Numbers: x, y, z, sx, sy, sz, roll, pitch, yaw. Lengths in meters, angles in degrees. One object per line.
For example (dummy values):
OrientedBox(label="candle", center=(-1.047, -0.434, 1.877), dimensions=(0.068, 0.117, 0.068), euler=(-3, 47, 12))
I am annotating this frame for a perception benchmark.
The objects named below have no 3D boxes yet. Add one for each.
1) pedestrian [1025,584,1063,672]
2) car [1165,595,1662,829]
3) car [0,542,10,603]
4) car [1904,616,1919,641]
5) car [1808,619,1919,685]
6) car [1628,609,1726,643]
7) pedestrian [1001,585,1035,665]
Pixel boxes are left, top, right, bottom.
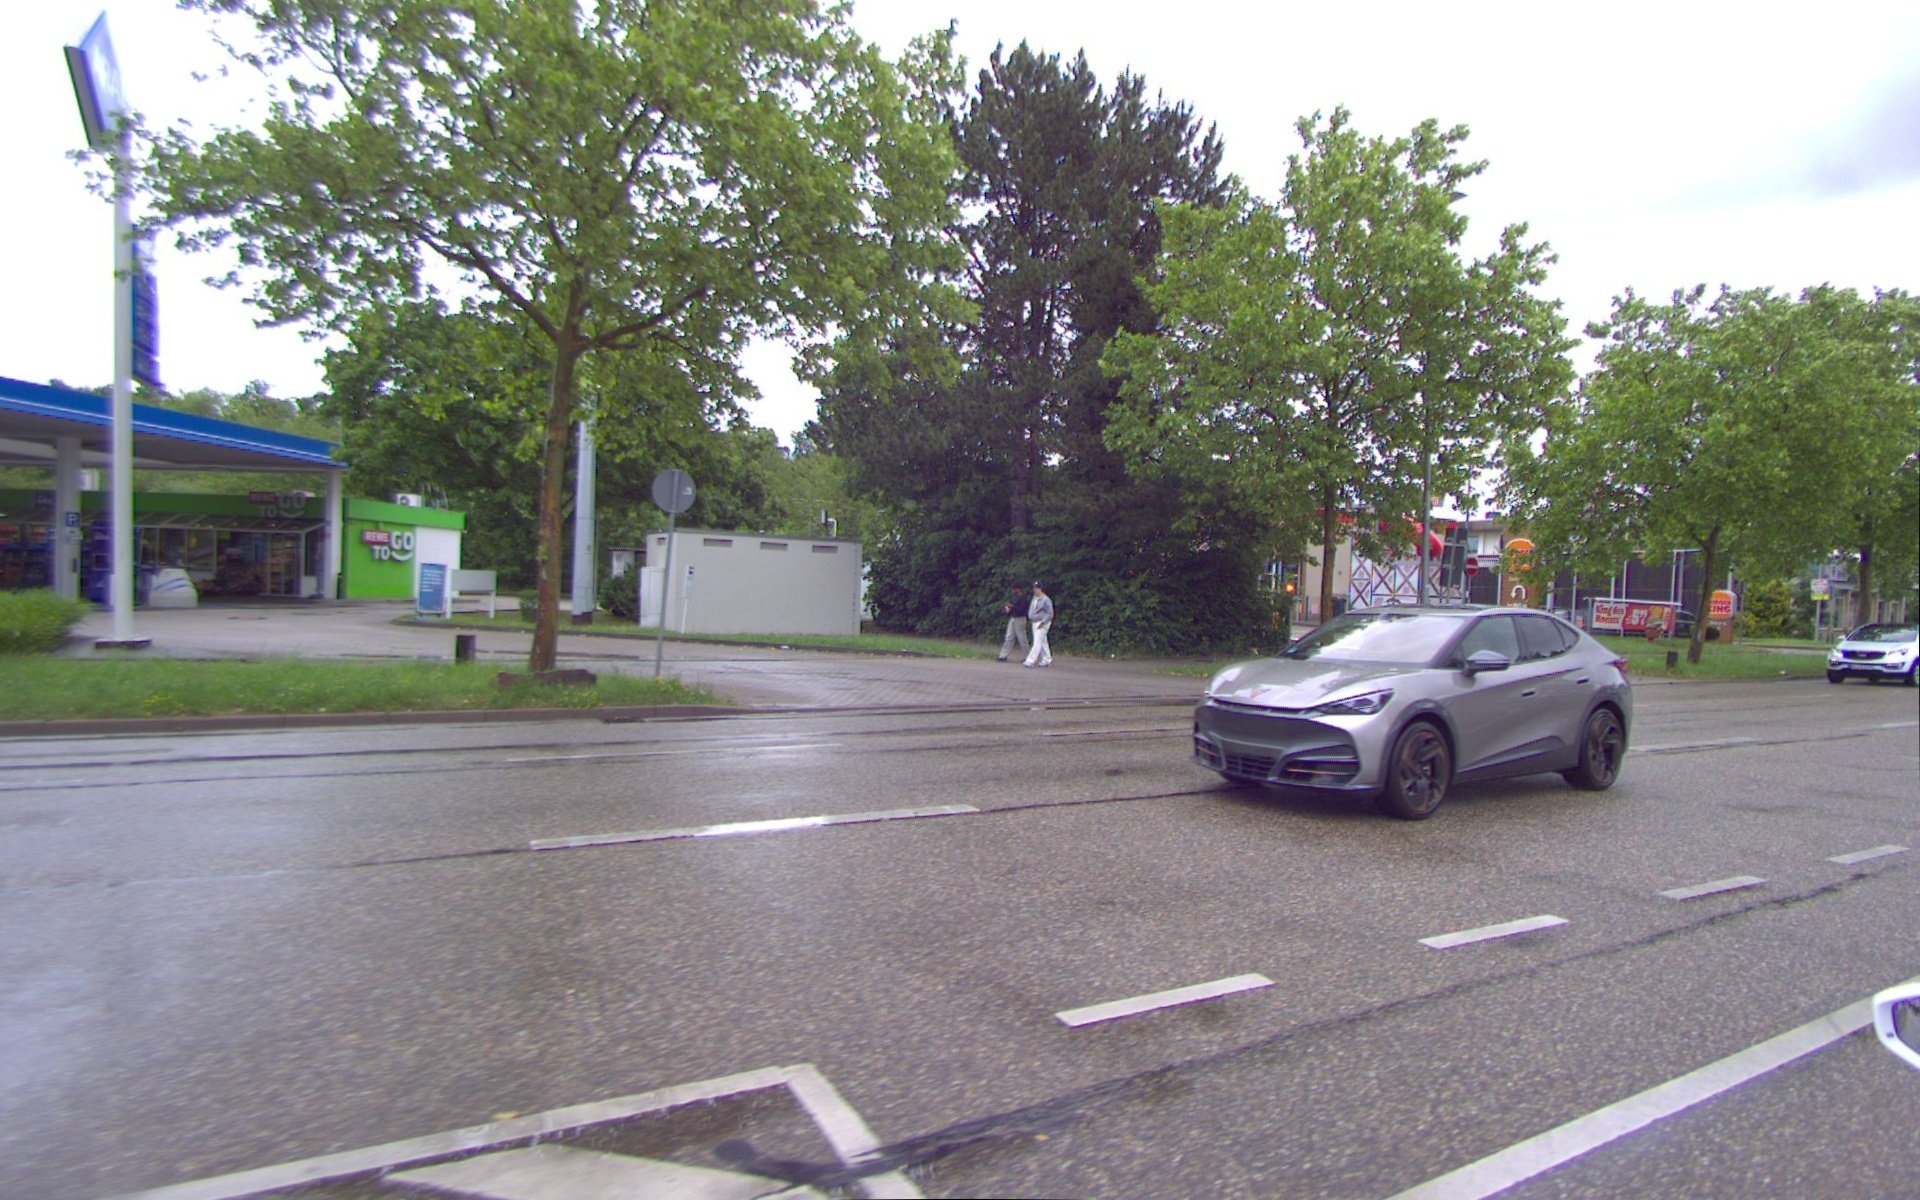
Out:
OrientedBox(label="pedestrian", center=(1.755, 0.577, 21.057), dimensions=(0.573, 1.790, 0.665), euler=(2, 1, -10))
OrientedBox(label="car", center=(4.099, 0.826, 8.815), dimensions=(4.549, 1.582, 1.801), euler=(2, -1, -33))
OrientedBox(label="car", center=(-27.182, -0.822, 26.259), dimensions=(3.490, 1.603, 1.690), euler=(3, 0, 12))
OrientedBox(label="car", center=(60.013, 1.811, 62.006), dimensions=(3.900, 1.506, 1.811), euler=(1, 0, -35))
OrientedBox(label="car", center=(25.480, 1.418, 27.643), dimensions=(4.347, 1.641, 1.919), euler=(2, -1, -30))
OrientedBox(label="car", center=(30.757, 1.102, 43.187), dimensions=(1.273, 1.171, 3.165), euler=(1, 3, -25))
OrientedBox(label="pedestrian", center=(1.252, 0.540, 21.708), dimensions=(0.534, 1.705, 0.509), euler=(1, 0, -31))
